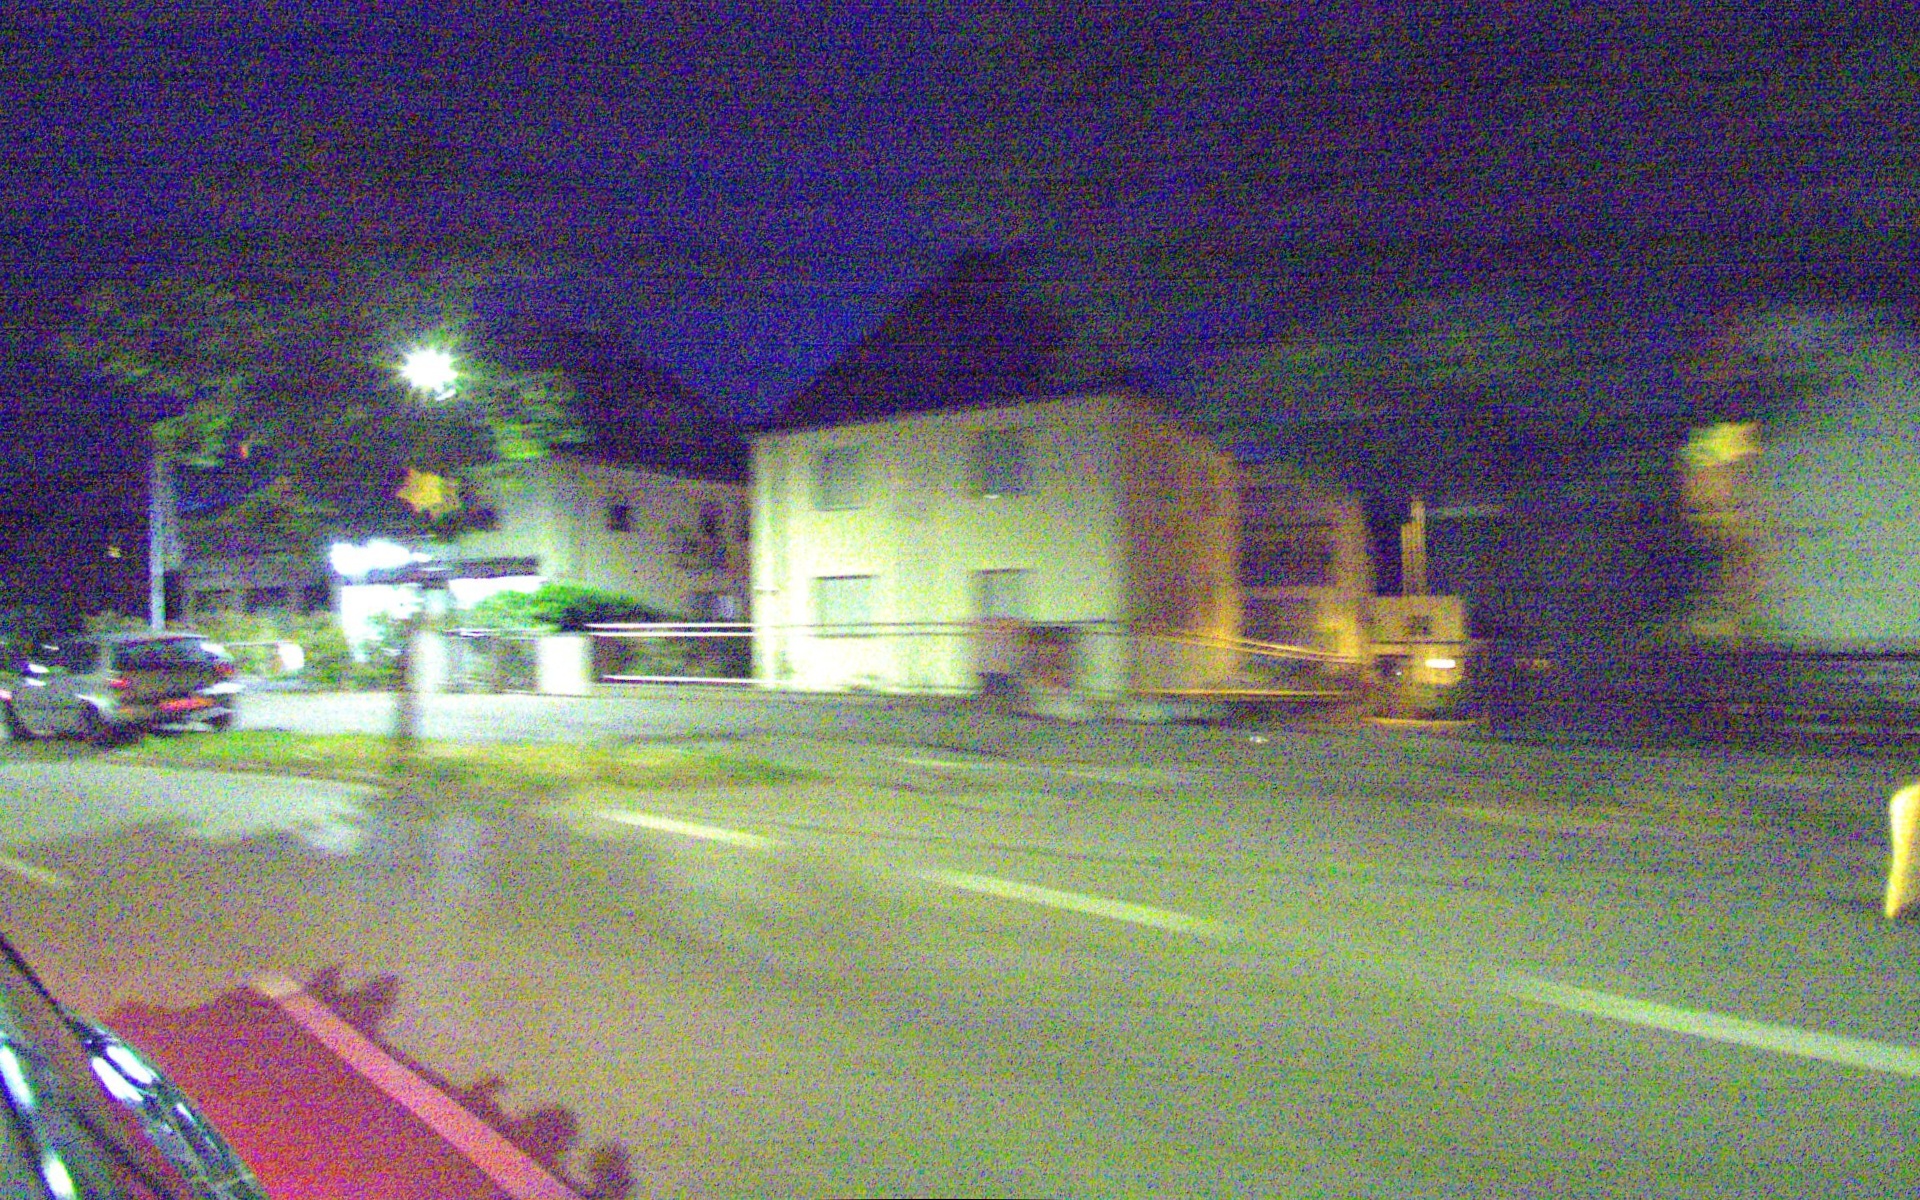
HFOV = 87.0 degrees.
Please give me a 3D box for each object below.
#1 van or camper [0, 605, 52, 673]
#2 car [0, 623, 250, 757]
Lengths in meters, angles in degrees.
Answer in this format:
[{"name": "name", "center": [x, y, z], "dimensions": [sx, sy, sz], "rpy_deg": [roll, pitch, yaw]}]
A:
[{"name": "van or camper", "center": [-41.698, 1.730, 43.389], "dimensions": [5.898, 2.768, 2.063], "rpy_deg": [-3, -1, 26]}, {"name": "car", "center": [-11.977, 1.206, 14.228], "dimensions": [3.969, 1.603, 1.662], "rpy_deg": [-2, 0, 29]}]
